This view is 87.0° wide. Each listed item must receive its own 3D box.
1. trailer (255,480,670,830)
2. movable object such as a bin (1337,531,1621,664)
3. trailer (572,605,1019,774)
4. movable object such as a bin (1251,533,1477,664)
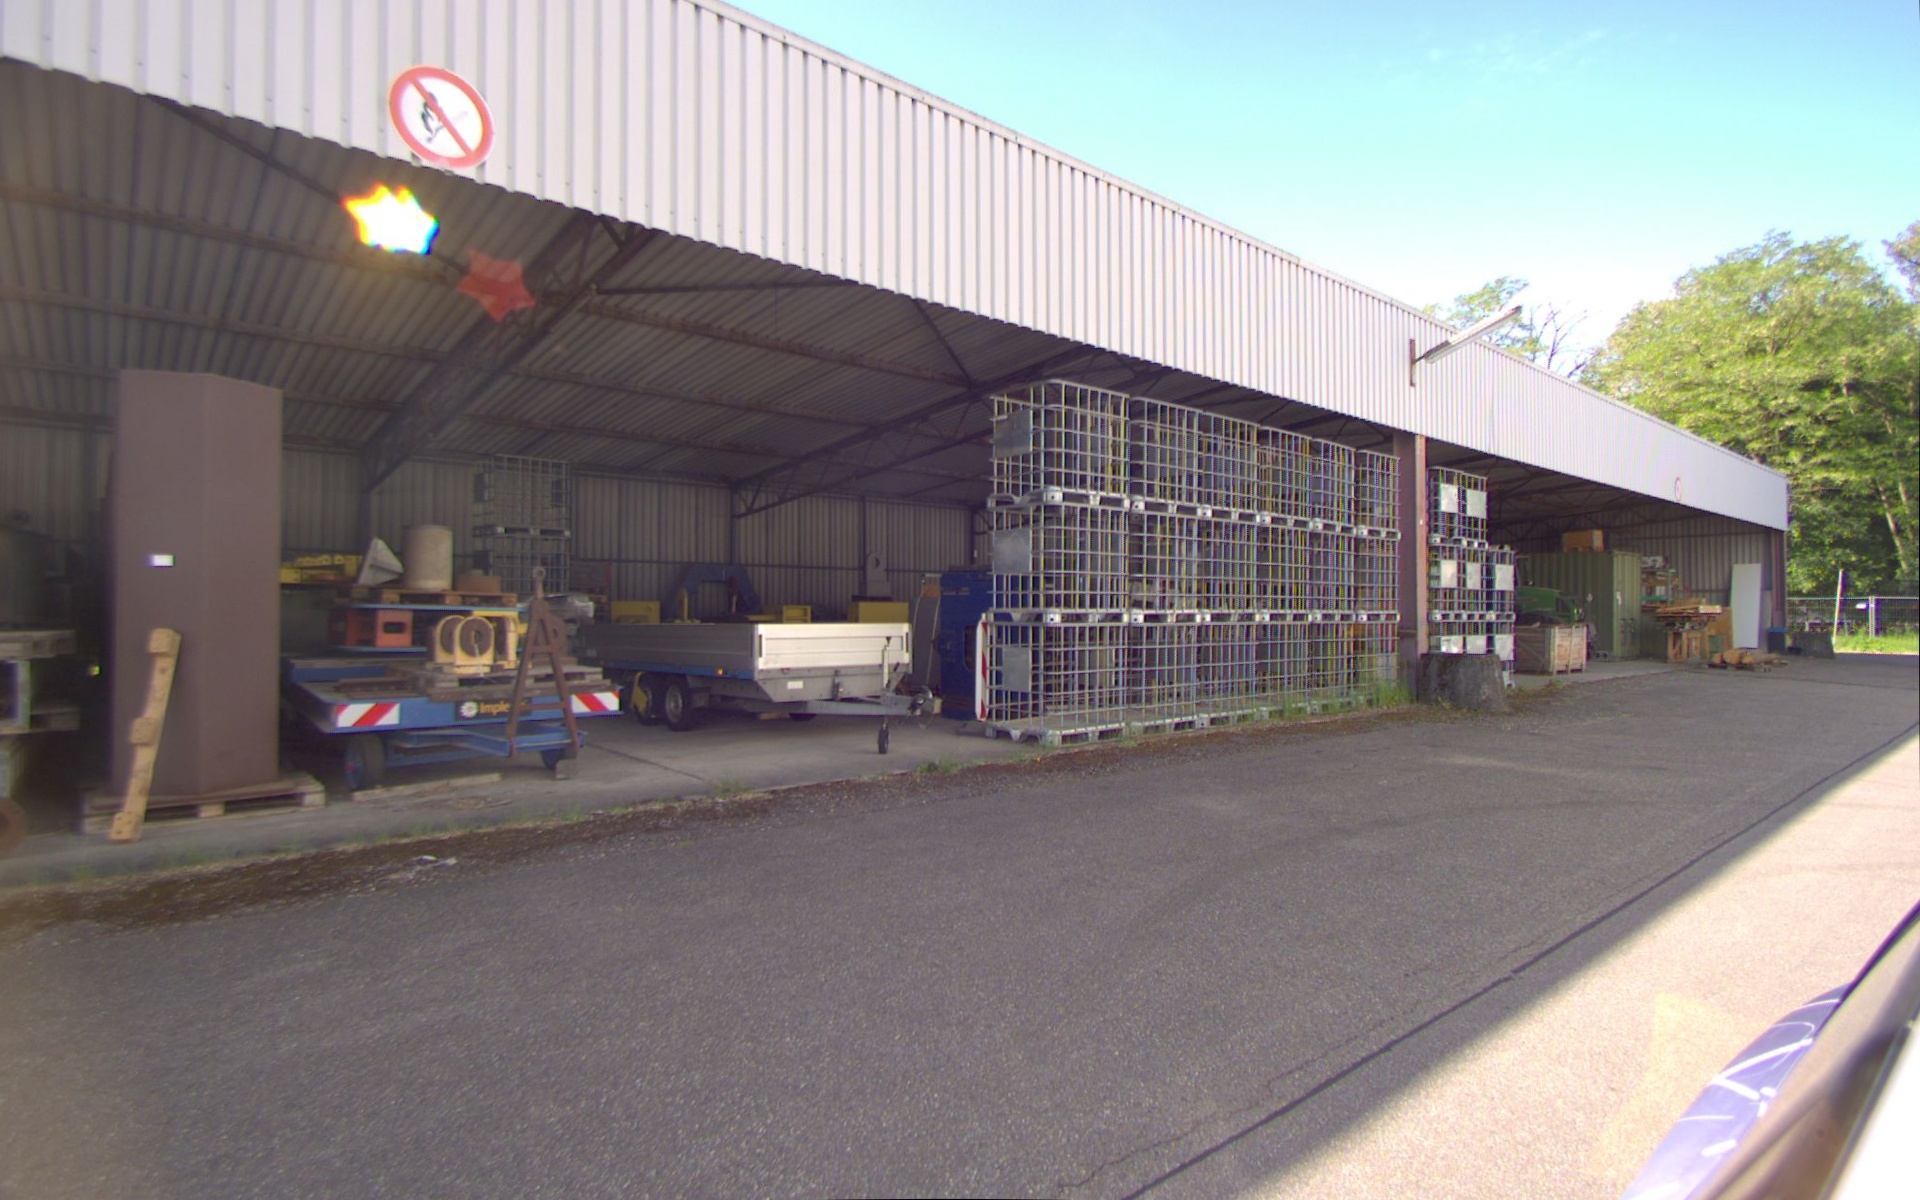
[{"bbox_3d":[-4.269,0.281,8.242,2.124,2.015,4.433,0,1,-39],"label":"trailer"},{"bbox_3d":[13.027,-0.054,25.781,2.770,2.962,5.845,1,-1,-40],"label":"movable object such as a bin"},{"bbox_3d":[-2.075,0.717,10.721,1.940,1.200,5.737,0,1,-41],"label":"trailer"},{"bbox_3d":[9.742,-0.026,24.686,2.452,2.867,4.535,1,-1,-40],"label":"movable object such as a bin"}]
